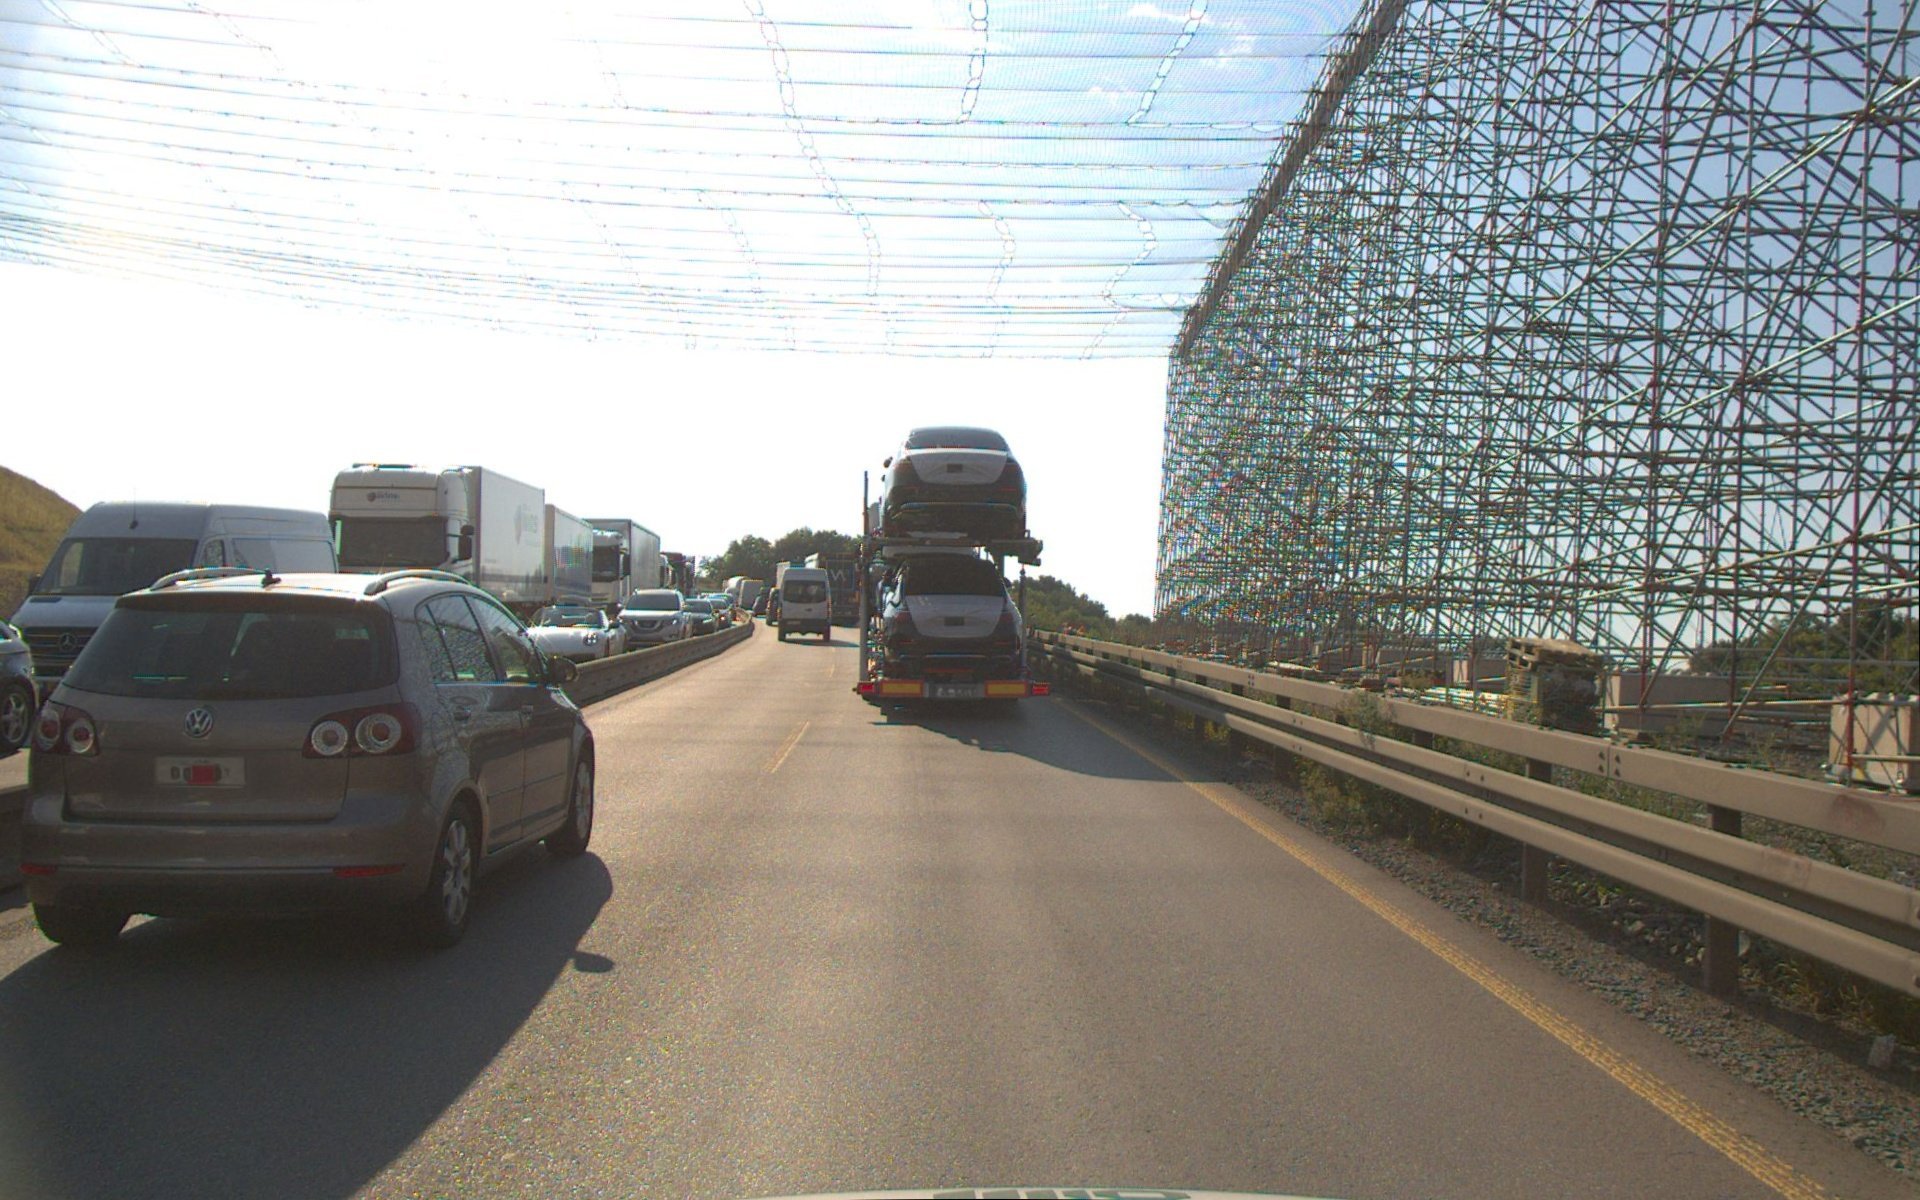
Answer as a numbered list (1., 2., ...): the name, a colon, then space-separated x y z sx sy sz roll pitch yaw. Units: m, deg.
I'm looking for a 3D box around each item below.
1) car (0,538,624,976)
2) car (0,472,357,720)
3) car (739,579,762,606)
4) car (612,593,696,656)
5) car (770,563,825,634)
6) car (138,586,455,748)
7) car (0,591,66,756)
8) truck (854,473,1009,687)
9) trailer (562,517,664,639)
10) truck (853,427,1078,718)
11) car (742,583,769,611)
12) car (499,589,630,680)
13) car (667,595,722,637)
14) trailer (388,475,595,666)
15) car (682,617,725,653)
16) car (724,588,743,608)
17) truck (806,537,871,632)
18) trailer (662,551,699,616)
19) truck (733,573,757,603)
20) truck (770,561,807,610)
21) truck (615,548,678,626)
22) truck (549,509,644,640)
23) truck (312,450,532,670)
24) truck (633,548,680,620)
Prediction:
1. car: -2.931 0.597 8.221 1.657 1.624 4.000 1 0 0
2. car: -10.298 -0.030 22.108 2.197 2.760 7.077 1 0 -3
3. car: -16.802 -0.584 132.493 1.600 2.049 3.989 1 0 -11
4. car: -8.135 0.629 44.300 1.773 1.595 4.361 1 0 -5
5. car: -6.169 -0.032 62.333 1.884 2.536 5.400 1 0 -7
6. car: -6.665 0.615 17.181 1.773 1.444 4.513 1 0 -5
7. car: -9.374 0.635 13.588 1.756 1.462 4.379 1 0 -2
8. truck: -0.807 -0.349 35.174 2.781 3.858 9.979 1 0 -3
9. trailer: -12.810 -0.726 62.191 2.381 4.032 14.078 1 0 -7
10. truck: -0.226 -0.319 25.791 2.743 3.558 10.597 1 0 -3
11. car: -14.000 -0.191 113.421 1.791 1.803 3.994 1 0 -7
12. car: -7.452 0.616 31.545 1.773 1.595 4.361 1 0 -5
13. car: -9.903 0.595 61.945 1.743 1.475 4.658 1 0 -6
14. trailer: -11.616 -0.614 42.543 2.618 4.086 13.318 1 0 -5
15. car: -10.687 1.454 69.089 1.576 1.400 3.895 1 0 -6
16. car: -22.115 -0.164 161.674 1.803 1.868 3.993 1 0 -8
17. truck: -7.382 -0.861 99.342 3.224 5.328 9.918 1 0 -8
18. trailer: -20.093 -1.135 118.893 2.431 4.404 10.485 1 0 -10
19. truck: -23.942 -1.290 184.335 2.542 3.226 6.665 1 0 -7
20. truck: -13.619 -1.075 130.688 2.483 3.712 8.888 1 0 -8
21. truck: -14.393 -0.573 76.183 2.367 3.429 5.609 1 0 -7
22. truck: -12.068 -0.795 55.242 2.426 4.116 5.609 1 0 -6
23. truck: -10.771 -0.722 33.884 2.579 3.978 7.198 1 0 -4
24. truck: -17.009 -0.874 92.950 2.387 3.851 5.605 1 0 -9
